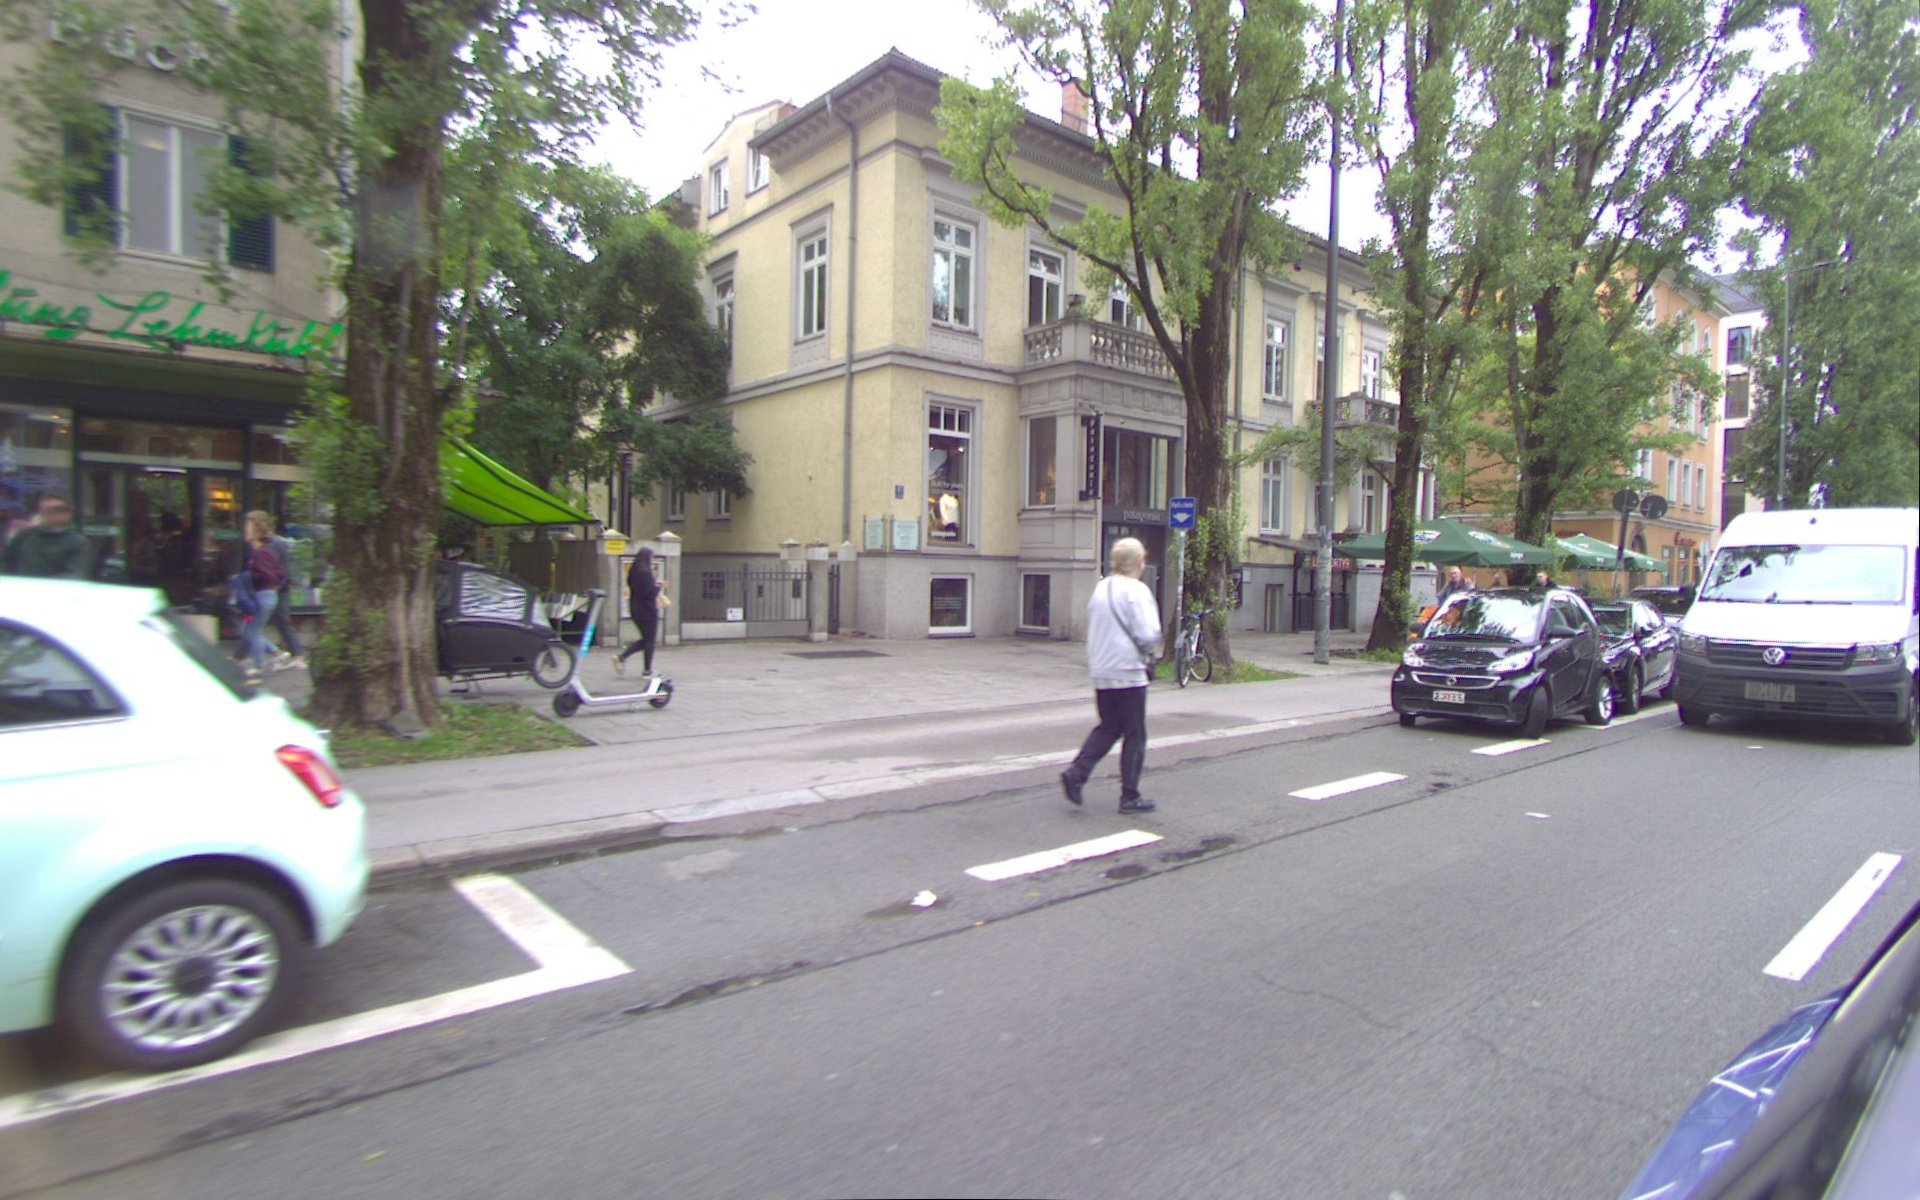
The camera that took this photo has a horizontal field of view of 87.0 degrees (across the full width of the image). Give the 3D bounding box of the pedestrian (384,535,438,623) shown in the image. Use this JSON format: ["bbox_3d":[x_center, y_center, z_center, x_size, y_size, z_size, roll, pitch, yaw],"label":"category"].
[{"bbox_3d":[-10.741,-0.418,19.779,0.786,1.668,0.829,0,1,-39],"label":"pedestrian"}]

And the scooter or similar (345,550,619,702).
[{"bbox_3d":[-4.858,0.241,10.460,2.454,1.393,0.637,1,2,-45],"label":"scooter or similar"}]

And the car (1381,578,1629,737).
[{"bbox_3d":[6.122,0.546,11.308,2.682,1.537,1.595,0,0,-41],"label":"car"}]

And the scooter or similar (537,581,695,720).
[{"bbox_3d":[-3.268,0.448,9.704,1.421,1.230,0.327,-1,4,-44],"label":"scooter or similar"}]

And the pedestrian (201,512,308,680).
[{"bbox_3d":[-7.545,-0.051,10.819,0.861,1.698,0.799,0,1,-40],"label":"pedestrian"}]

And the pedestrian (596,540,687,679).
[{"bbox_3d":[-3.911,0.101,12.423,0.856,1.625,0.617,0,3,-43],"label":"pedestrian"}]

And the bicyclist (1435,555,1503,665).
[{"bbox_3d":[8.498,0.142,16.902,0.829,1.779,0.657,2,1,45],"label":"bicyclist"}]

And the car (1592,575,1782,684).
[{"bbox_3d":[12.675,0.419,17.543,4.371,1.658,1.805,-1,1,-42],"label":"car"}]

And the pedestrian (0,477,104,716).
[{"bbox_3d":[-7.689,-0.043,8.463,0.733,1.888,0.959,0,1,-36],"label":"pedestrian"}]

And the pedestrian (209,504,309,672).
[{"bbox_3d":[-7.969,-0.145,11.505,0.861,1.818,0.773,0,1,-40],"label":"pedestrian"}]

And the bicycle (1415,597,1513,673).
[{"bbox_3d":[8.400,0.546,16.822,0.884,1.134,2.069,2,2,43],"label":"bicycle"}]

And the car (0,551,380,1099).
[{"bbox_3d":[-3.748,0.611,2.859,3.461,1.511,1.544,-1,1,-40],"label":"car"}]

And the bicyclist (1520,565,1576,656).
[{"bbox_3d":[11.409,0.187,19.639,0.736,1.708,0.740,0,1,-43],"label":"bicyclist"}]

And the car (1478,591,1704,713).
[{"bbox_3d":[8.818,0.594,13.981,4.273,1.411,1.711,0,1,-45],"label":"car"}]

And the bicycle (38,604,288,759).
[{"bbox_3d":[-5.851,0.559,7.493,1.431,1.008,0.349,-1,4,-44],"label":"bicycle"}]

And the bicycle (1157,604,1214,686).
[{"bbox_3d":[3.129,0.584,13.949,0.504,1.006,1.616,1,2,22],"label":"bicycle"}]

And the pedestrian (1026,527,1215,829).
[{"bbox_3d":[1.041,0.450,6.596,0.855,1.795,0.829,0,1,-39],"label":"pedestrian"}]

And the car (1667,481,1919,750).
[{"bbox_3d":[10.903,0.115,12.409,6.611,2.524,2.067,0,1,-41],"label":"car"}]
